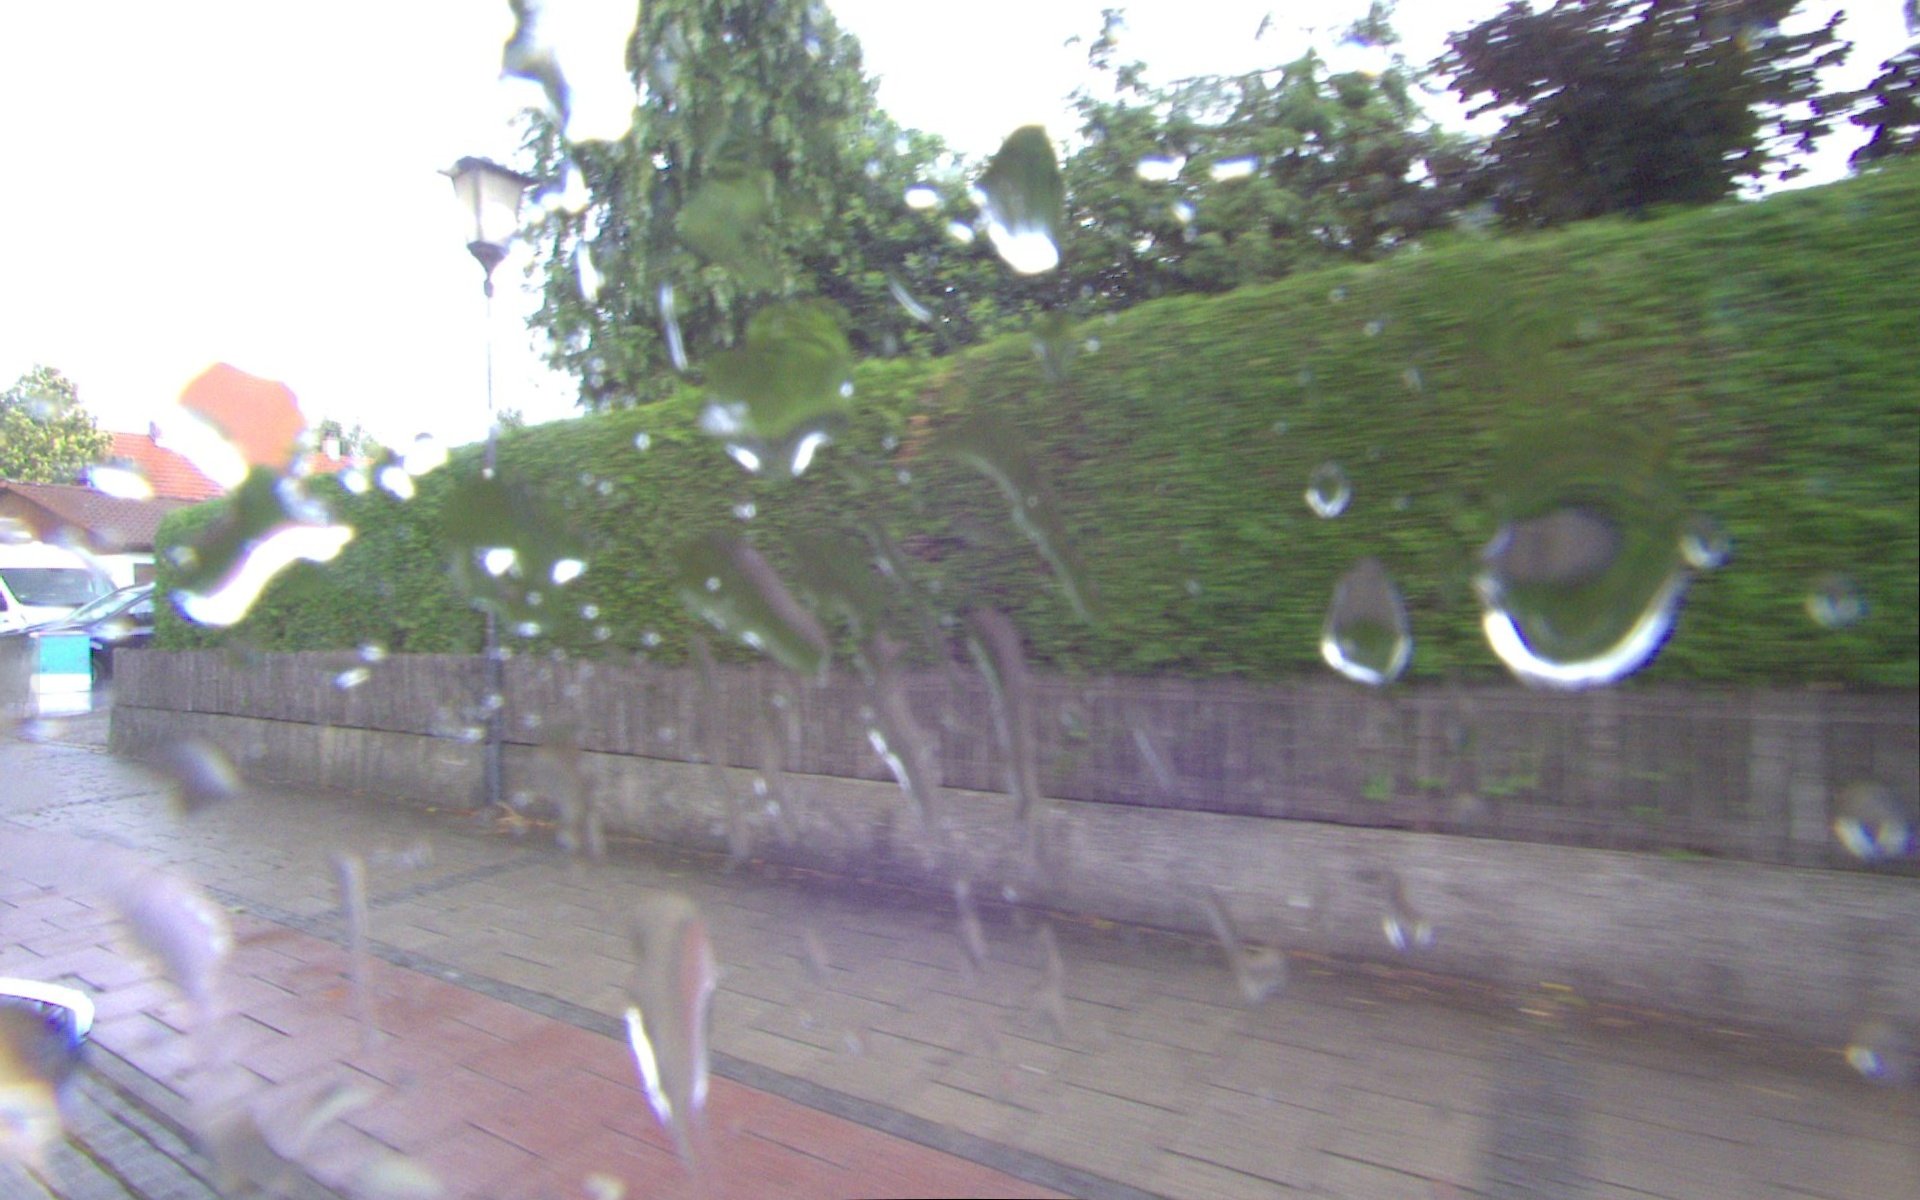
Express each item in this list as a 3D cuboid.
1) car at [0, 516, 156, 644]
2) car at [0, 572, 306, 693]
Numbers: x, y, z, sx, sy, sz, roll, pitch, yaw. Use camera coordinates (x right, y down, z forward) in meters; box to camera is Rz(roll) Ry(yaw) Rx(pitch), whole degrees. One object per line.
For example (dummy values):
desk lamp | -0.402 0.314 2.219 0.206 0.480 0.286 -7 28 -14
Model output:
car | -18.139 -0.273 19.195 4.866 2.201 1.997 -1 -2 20
car | -13.672 0.459 16.930 1.668 1.775 4.088 2 1 29
